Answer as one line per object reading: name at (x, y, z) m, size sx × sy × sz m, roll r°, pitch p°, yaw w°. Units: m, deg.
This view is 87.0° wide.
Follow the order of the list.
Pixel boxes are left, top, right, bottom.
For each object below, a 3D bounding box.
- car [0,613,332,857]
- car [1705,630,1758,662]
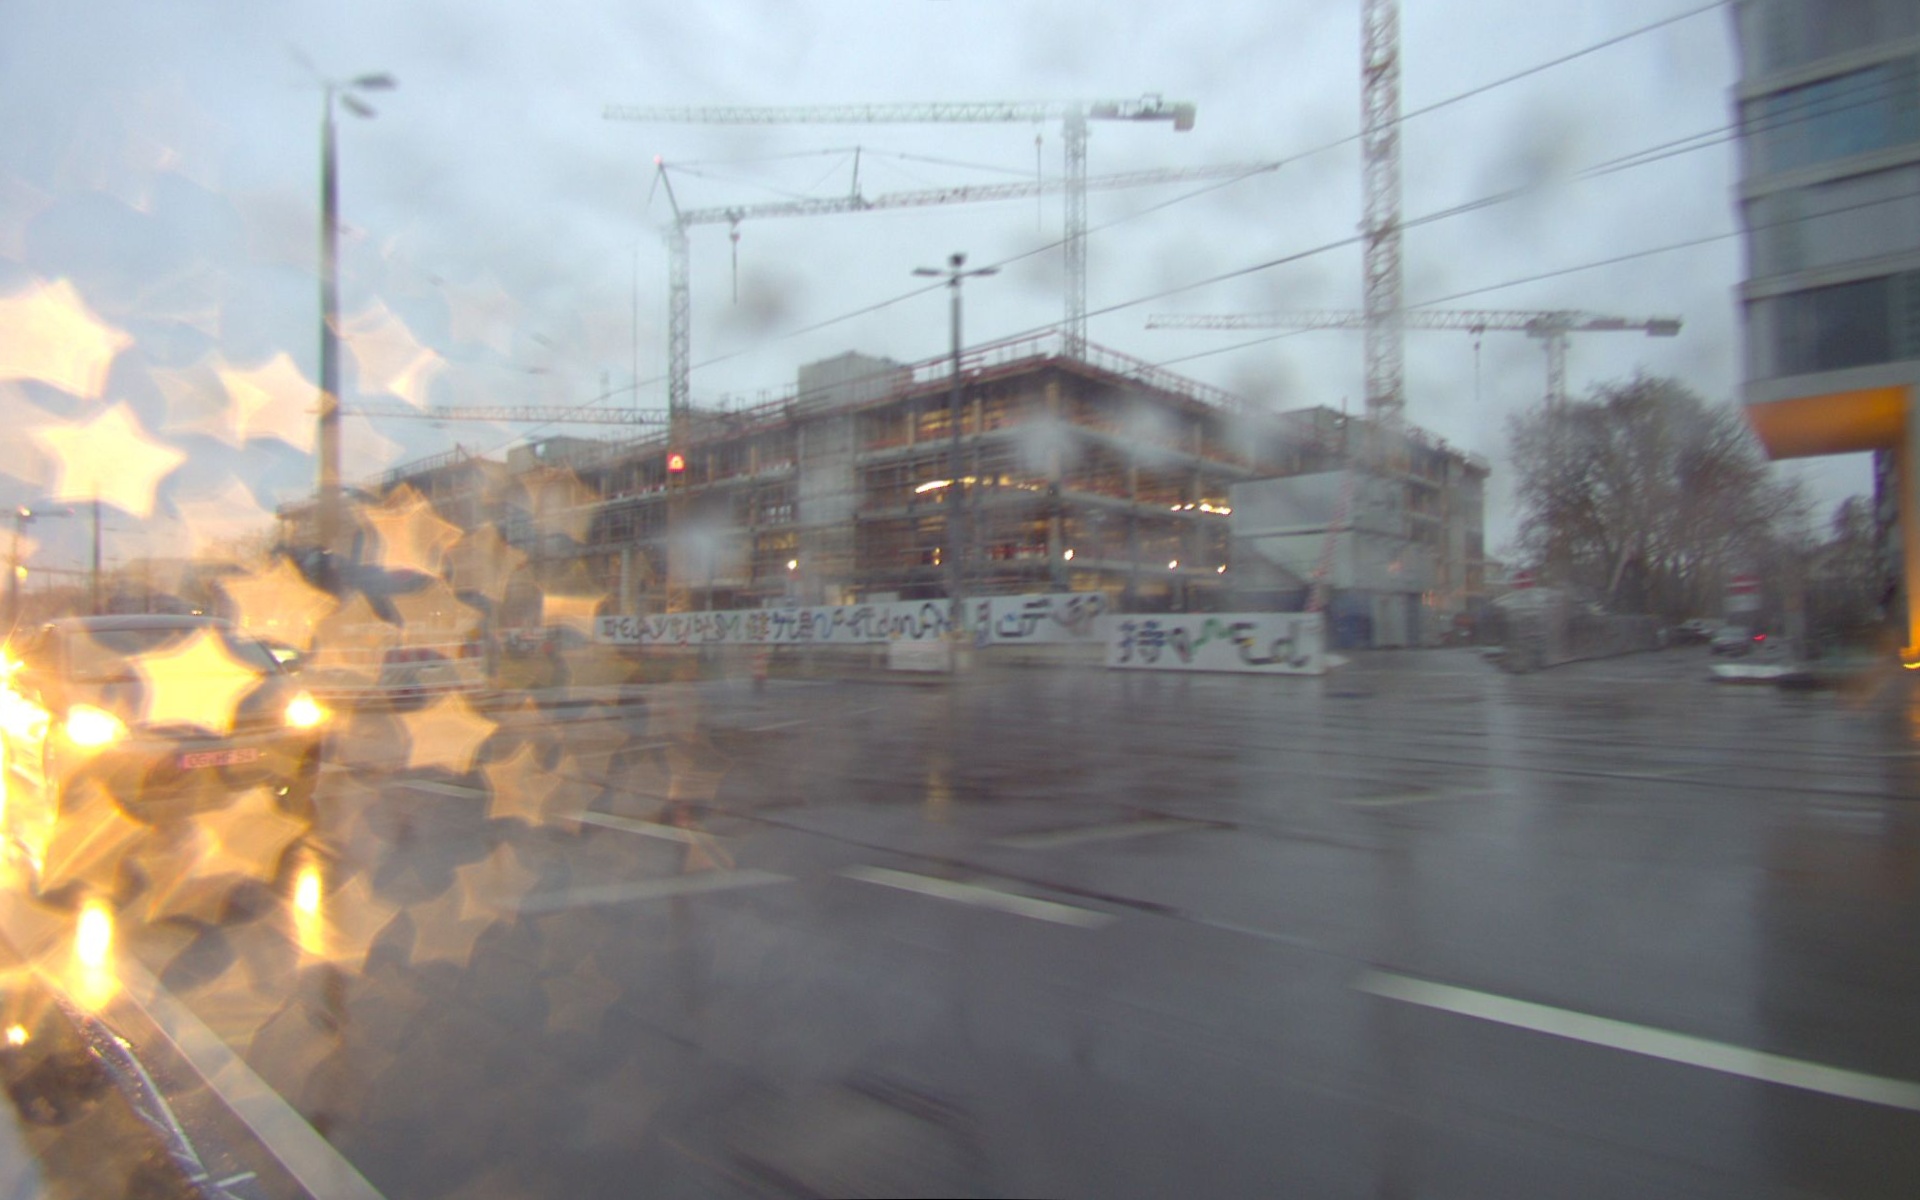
car at (-7.109, 0.962, 8.778) m, size 3.998 × 1.606 × 1.741 m, roll -2°, pitch -1°, yaw 41°
car at (41.612, 2.466, 54.564) m, size 1.887 × 1.586 × 3.943 m, roll -3°, pitch -2°, yaw 43°
